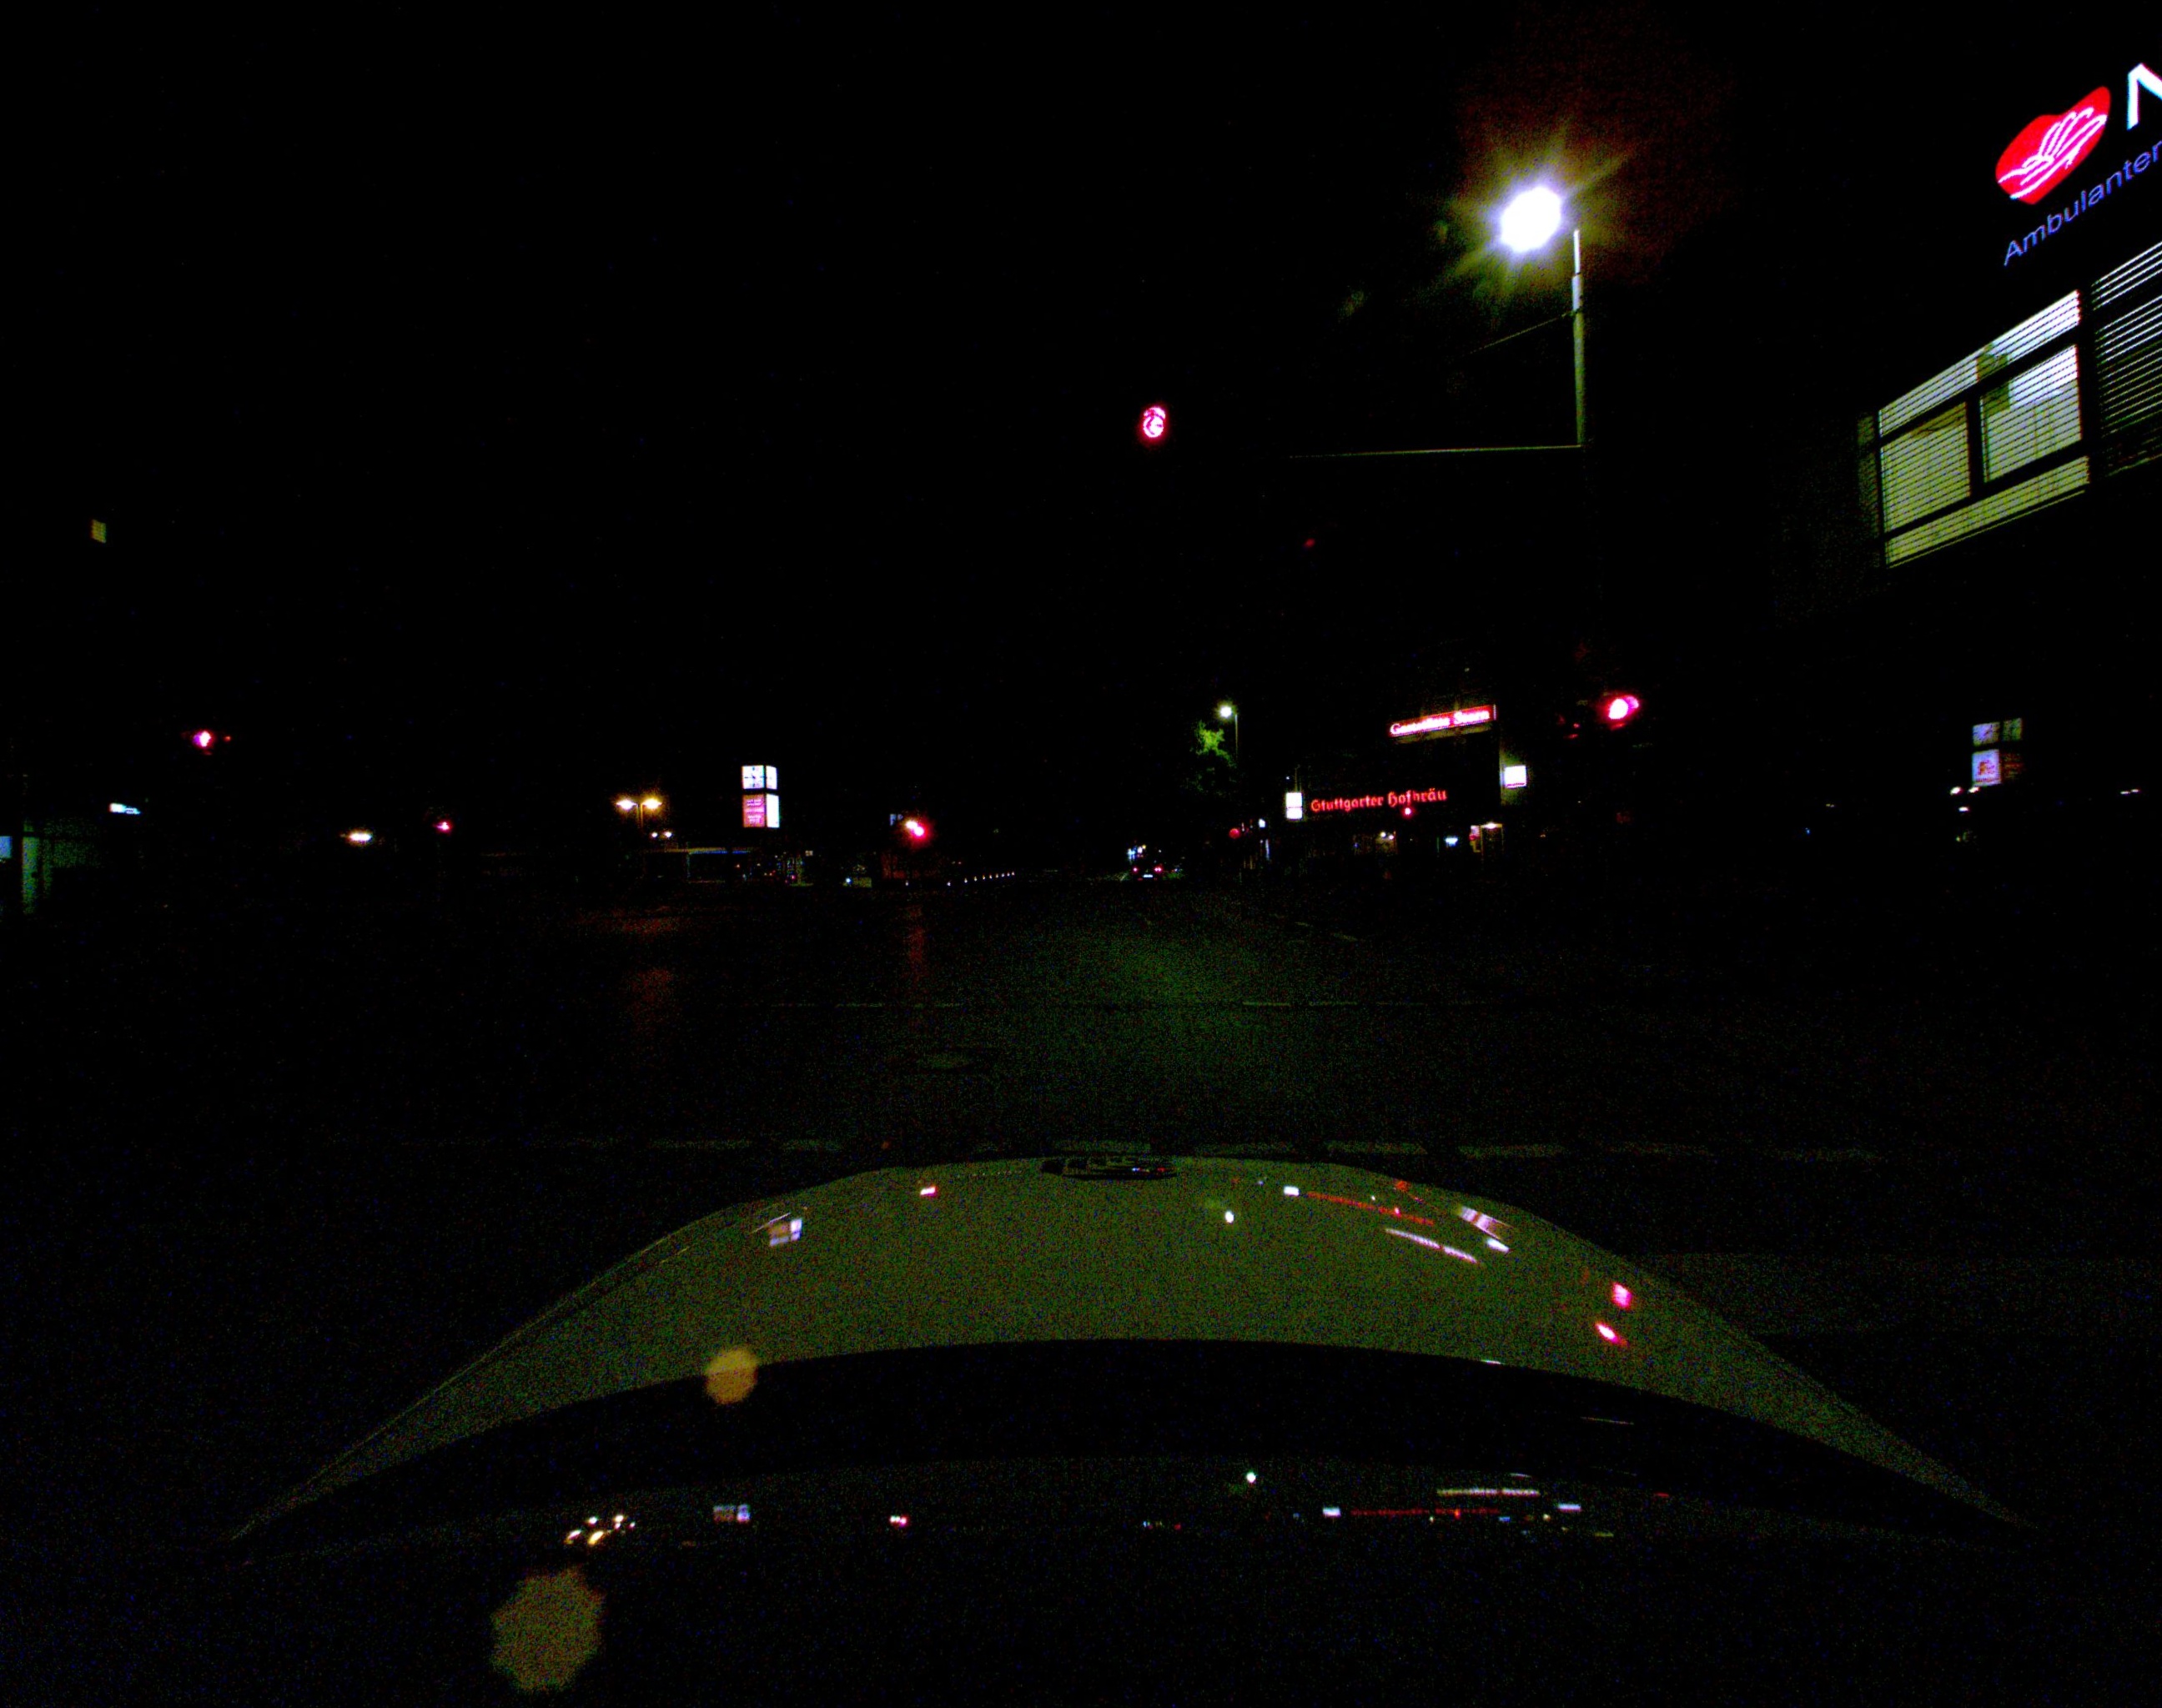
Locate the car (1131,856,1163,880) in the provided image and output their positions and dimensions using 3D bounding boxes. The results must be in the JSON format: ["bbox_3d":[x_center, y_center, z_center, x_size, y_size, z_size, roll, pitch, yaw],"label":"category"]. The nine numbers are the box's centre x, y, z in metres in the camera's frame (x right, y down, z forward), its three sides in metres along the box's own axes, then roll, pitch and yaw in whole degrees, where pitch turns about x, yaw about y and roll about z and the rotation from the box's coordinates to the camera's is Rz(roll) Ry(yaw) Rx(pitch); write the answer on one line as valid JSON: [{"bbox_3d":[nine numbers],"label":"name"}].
[{"bbox_3d":[4.081,0.861,50.807,1.866,1.454,4.320,0,0,3],"label":"car"}]

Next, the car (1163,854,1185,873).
[{"bbox_3d":[8.680,0.874,76.431,1.868,1.729,4.005,-2,-1,5],"label":"car"}]

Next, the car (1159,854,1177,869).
[{"bbox_3d":[10.050,0.898,94.454,1.868,1.683,4.005,-2,-1,5],"label":"car"}]

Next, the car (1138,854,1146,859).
[{"bbox_3d":[19.471,0.874,259.035,2.219,1.651,4.001,-1,0,1],"label":"car"}]

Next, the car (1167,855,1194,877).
[{"bbox_3d":[7.696,0.940,63.451,1.868,1.615,4.005,-2,-1,5],"label":"car"}]

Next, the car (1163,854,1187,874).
[{"bbox_3d":[7.885,0.828,68.775,1.868,1.615,4.005,-2,-1,5],"label":"car"}]
